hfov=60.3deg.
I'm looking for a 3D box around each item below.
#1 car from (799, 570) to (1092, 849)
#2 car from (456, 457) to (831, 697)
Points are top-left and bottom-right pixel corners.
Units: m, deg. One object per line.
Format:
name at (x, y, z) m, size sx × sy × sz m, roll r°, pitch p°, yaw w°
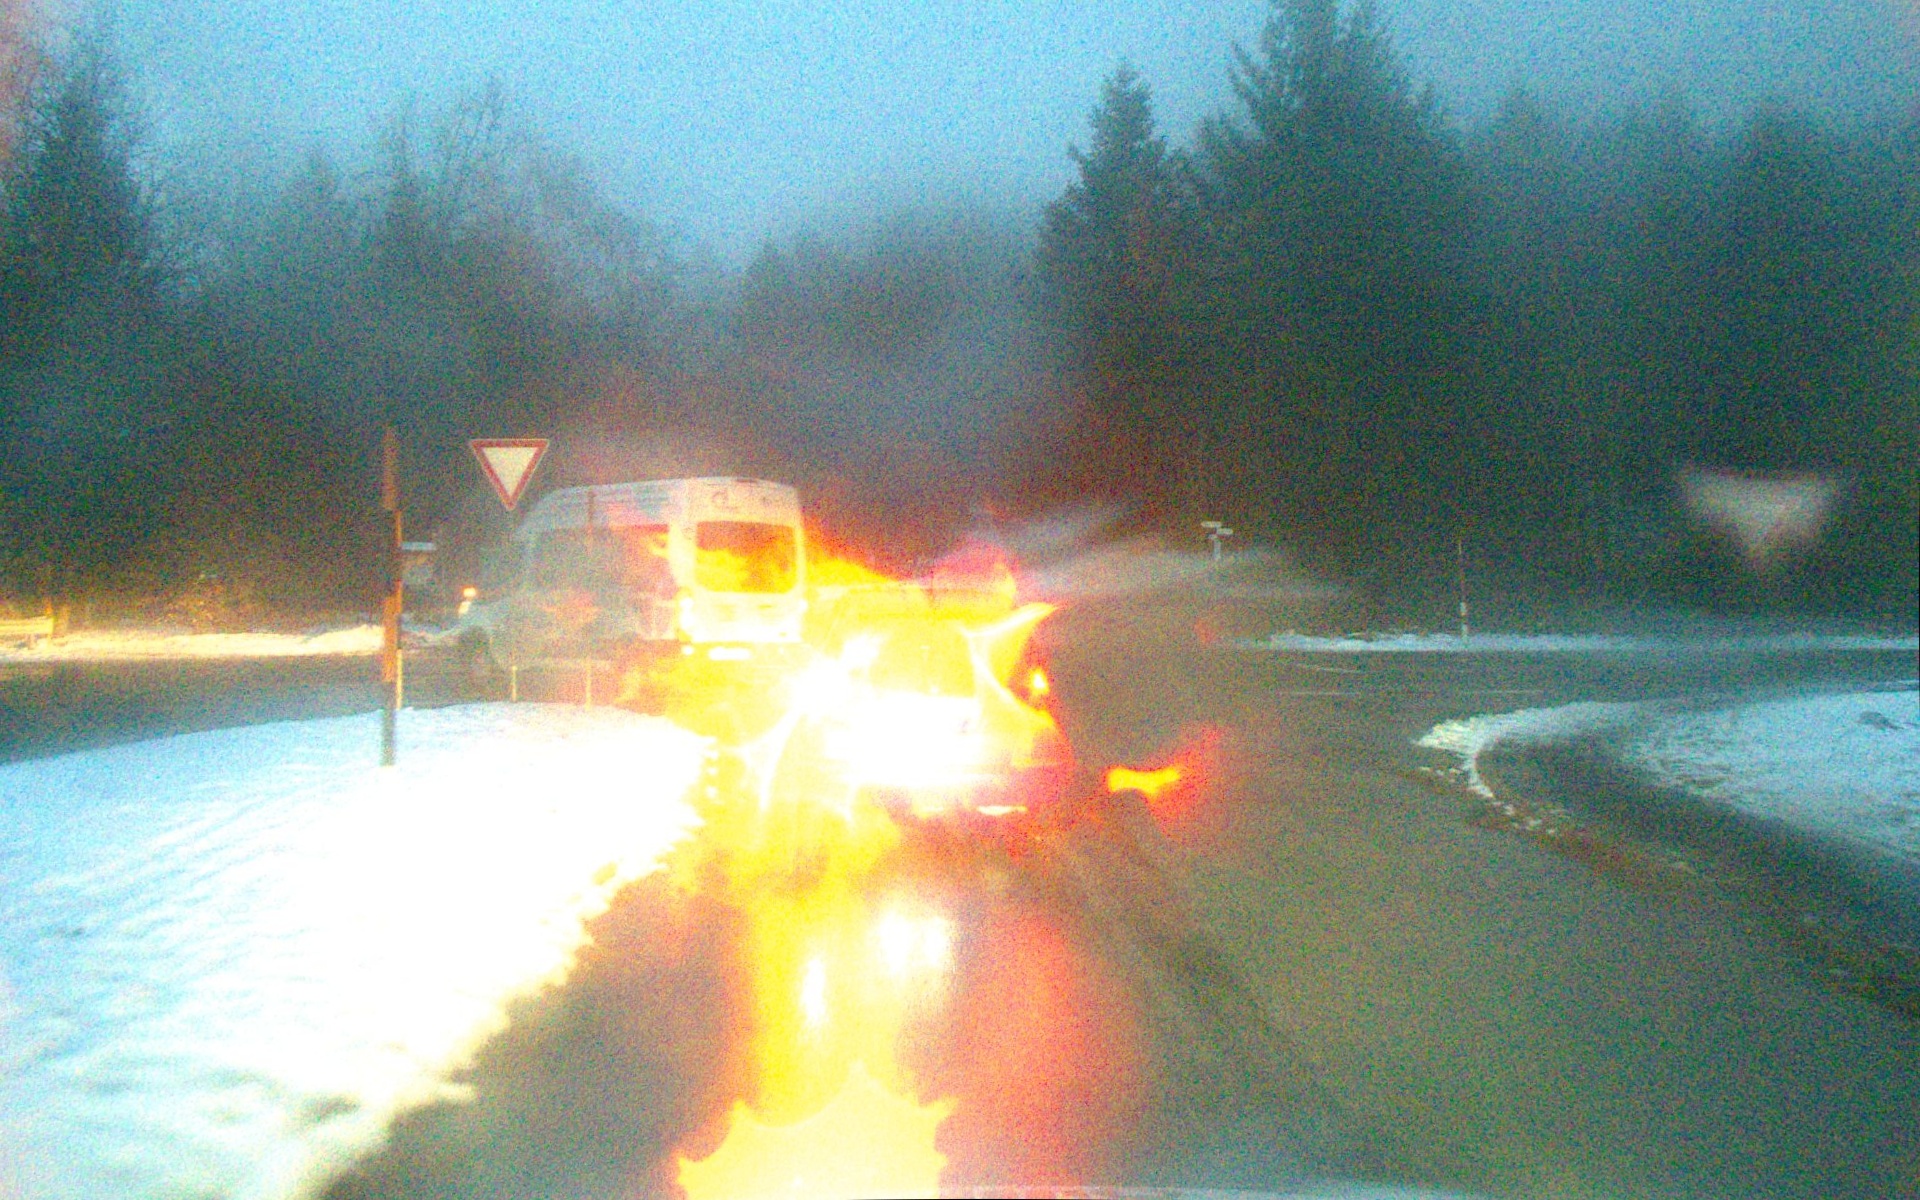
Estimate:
car at (-0.110, 0.606, 11.410) m, size 1.658 × 1.579 × 3.855 m, roll 1°, pitch 1°, yaw -1°
car at (-4.263, -0.266, 21.601) m, size 2.137 × 2.743 × 5.439 m, roll 2°, pitch -1°, yaw -44°
